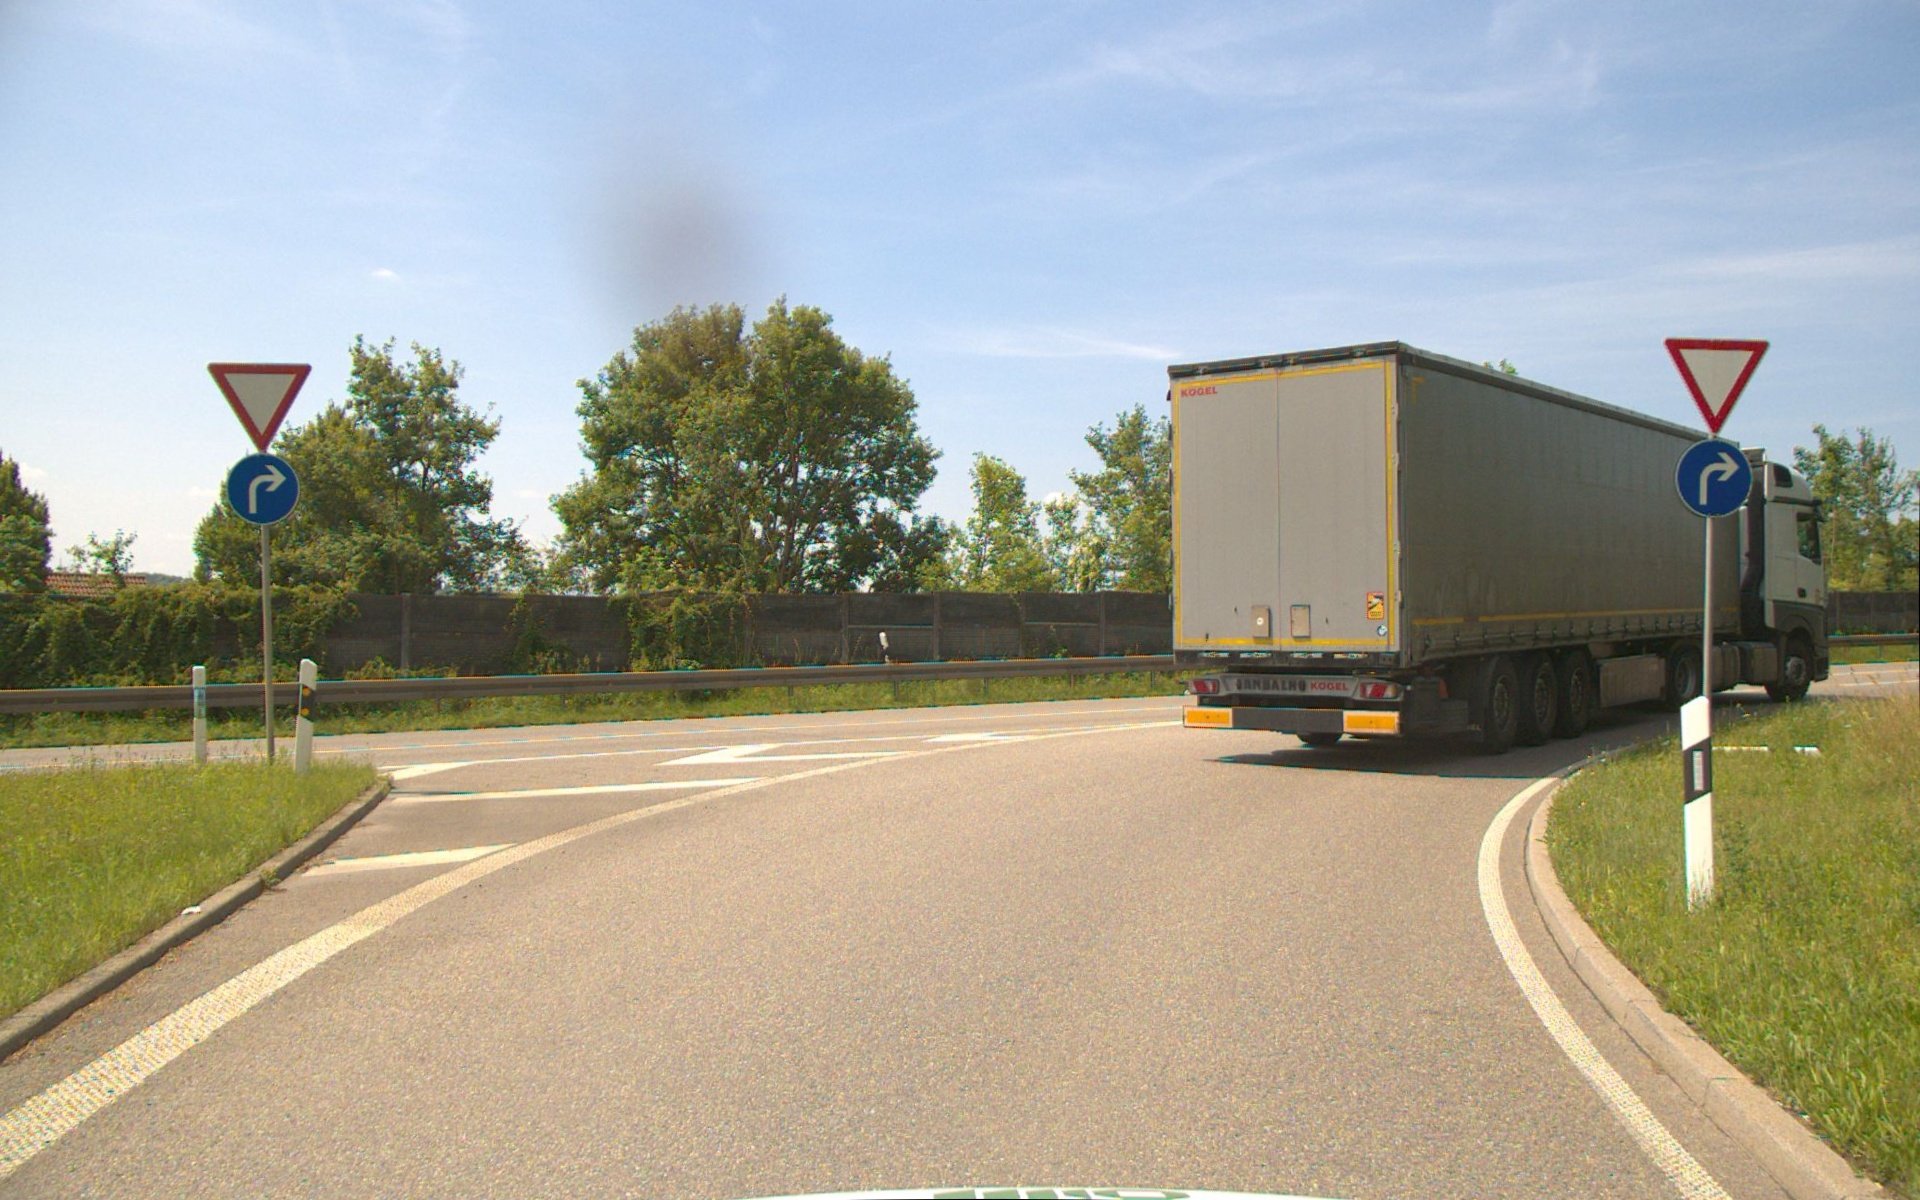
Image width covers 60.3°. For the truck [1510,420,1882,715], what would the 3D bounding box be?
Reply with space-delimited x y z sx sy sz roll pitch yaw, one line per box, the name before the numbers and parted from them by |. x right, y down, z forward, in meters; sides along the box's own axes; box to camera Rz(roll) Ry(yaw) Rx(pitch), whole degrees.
truck | 12.430 -0.428 27.658 7.060 4.299 3.115 1 -1 -42

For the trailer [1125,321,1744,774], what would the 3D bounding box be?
trailer | 6.889 -0.408 21.200 2.978 4.105 13.292 -1 -1 37
